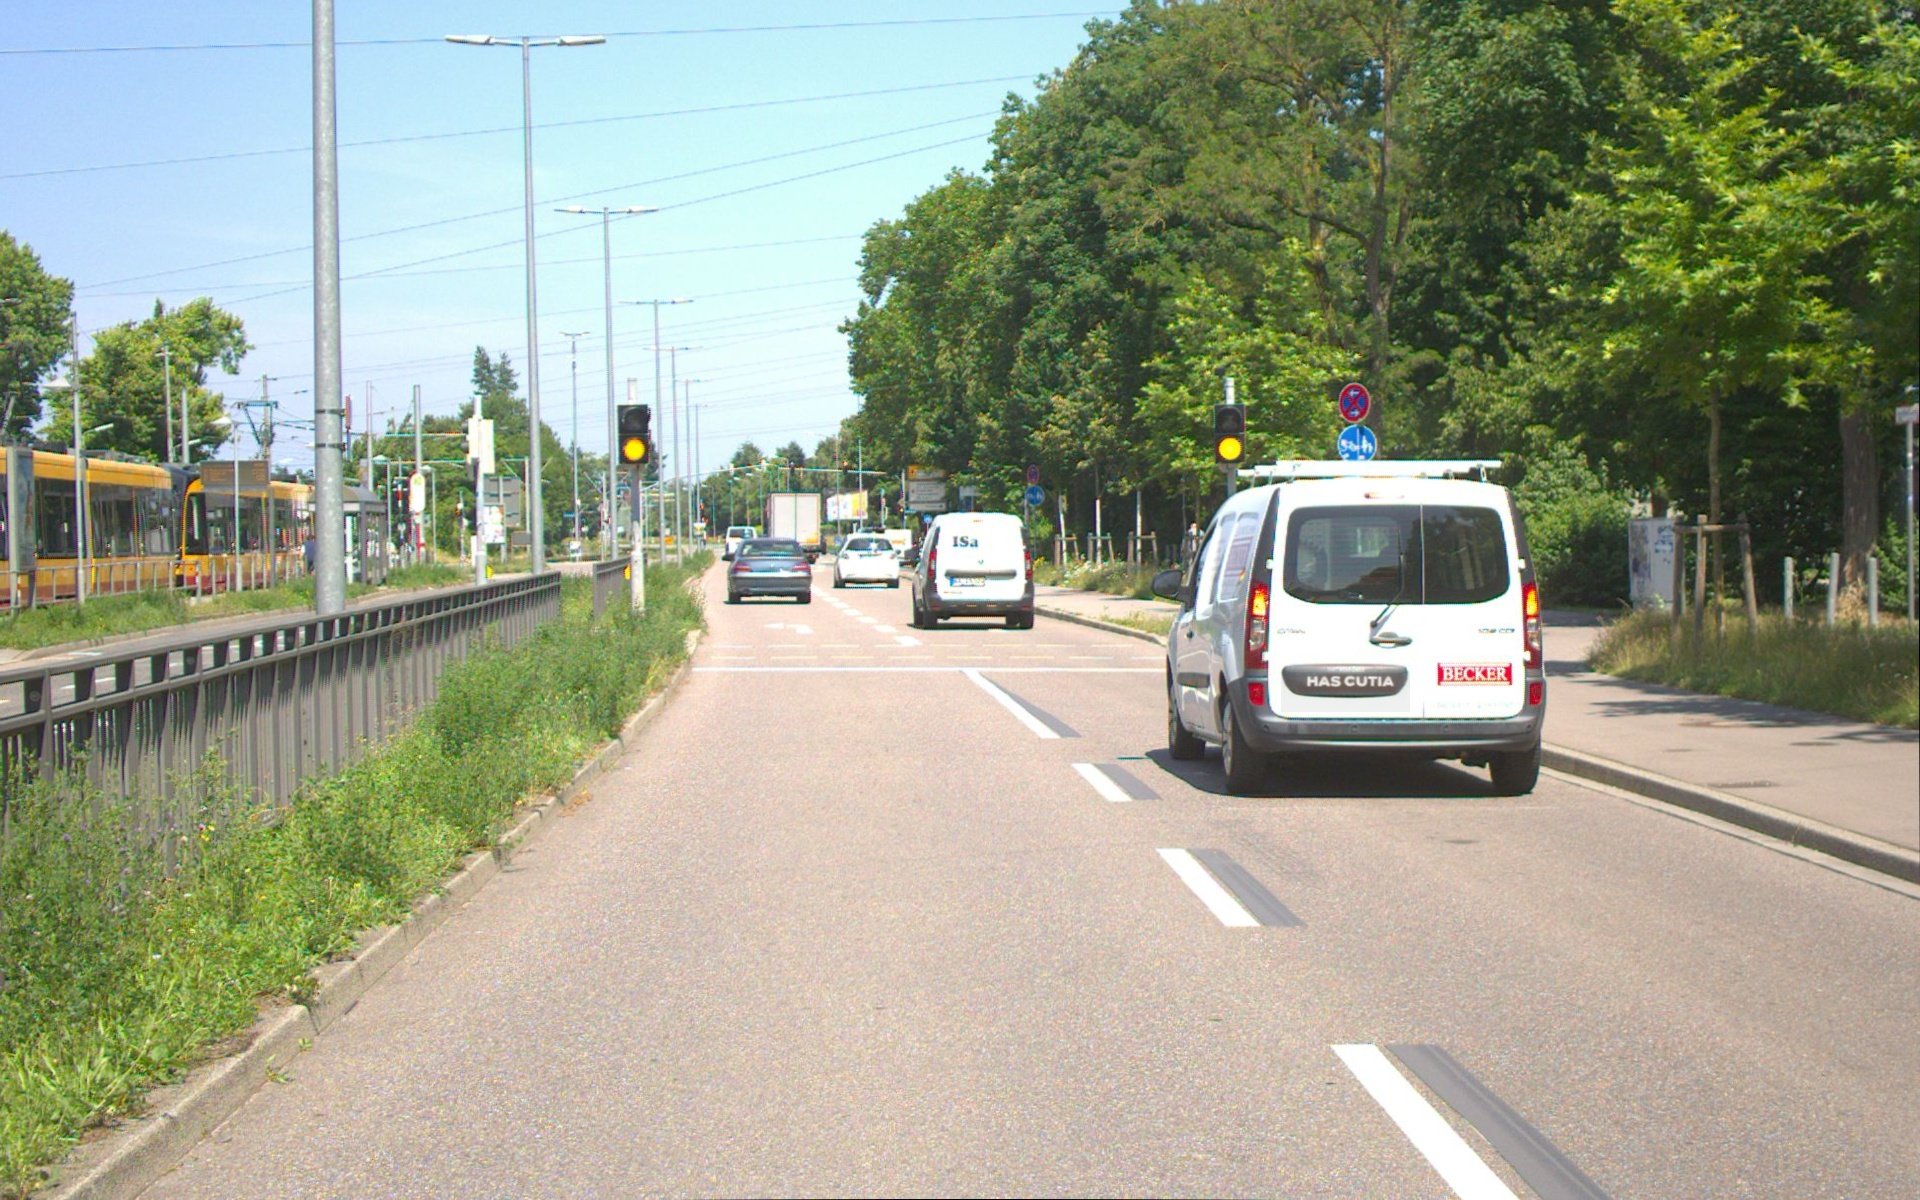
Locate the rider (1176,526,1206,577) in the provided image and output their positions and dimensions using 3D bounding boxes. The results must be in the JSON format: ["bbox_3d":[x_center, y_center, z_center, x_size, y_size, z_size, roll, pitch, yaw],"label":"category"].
[{"bbox_3d":[5.878,-1.230,87.429,0.678,1.277,0.534,-1,1,-4],"label":"rider"}]

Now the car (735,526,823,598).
[{"bbox_3d":[-3.830,-0.828,73.107,1.801,1.481,4.001,-1,1,-3],"label":"car"}]

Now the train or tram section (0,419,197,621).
[{"bbox_3d":[-19.014,-1.513,65.776,2.787,3.655,37.524,-1,1,-4],"label":"train or tram section"}]

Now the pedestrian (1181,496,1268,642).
[{"bbox_3d":[3.365,-0.396,43.717,1.047,1.844,0.757,0,1,9],"label":"pedestrian"}]

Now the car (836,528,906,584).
[{"bbox_3d":[-2.503,-1.241,95.775,1.803,1.534,4.001,-1,1,-4],"label":"car"}]

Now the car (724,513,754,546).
[{"bbox_3d":[-12.760,-4.096,198.837,1.687,1.891,3.871,-1,1,-4],"label":"car"}]

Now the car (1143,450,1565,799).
[{"bbox_3d":[2.246,0.088,20.780,1.824,1.875,4.456,0,1,-3],"label":"car"}]

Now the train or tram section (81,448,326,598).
[{"bbox_3d":[-20.978,-2.150,97.473,2.787,3.655,26.003,-1,1,-4],"label":"train or tram section"}]

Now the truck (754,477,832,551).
[{"bbox_3d":[-8.940,-4.567,182.862,3.898,3.799,10.794,-1,1,-4],"label":"truck"}]

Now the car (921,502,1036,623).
[{"bbox_3d":[0.286,-0.622,54.067,1.728,1.807,4.000,0,2,0],"label":"car"}]
